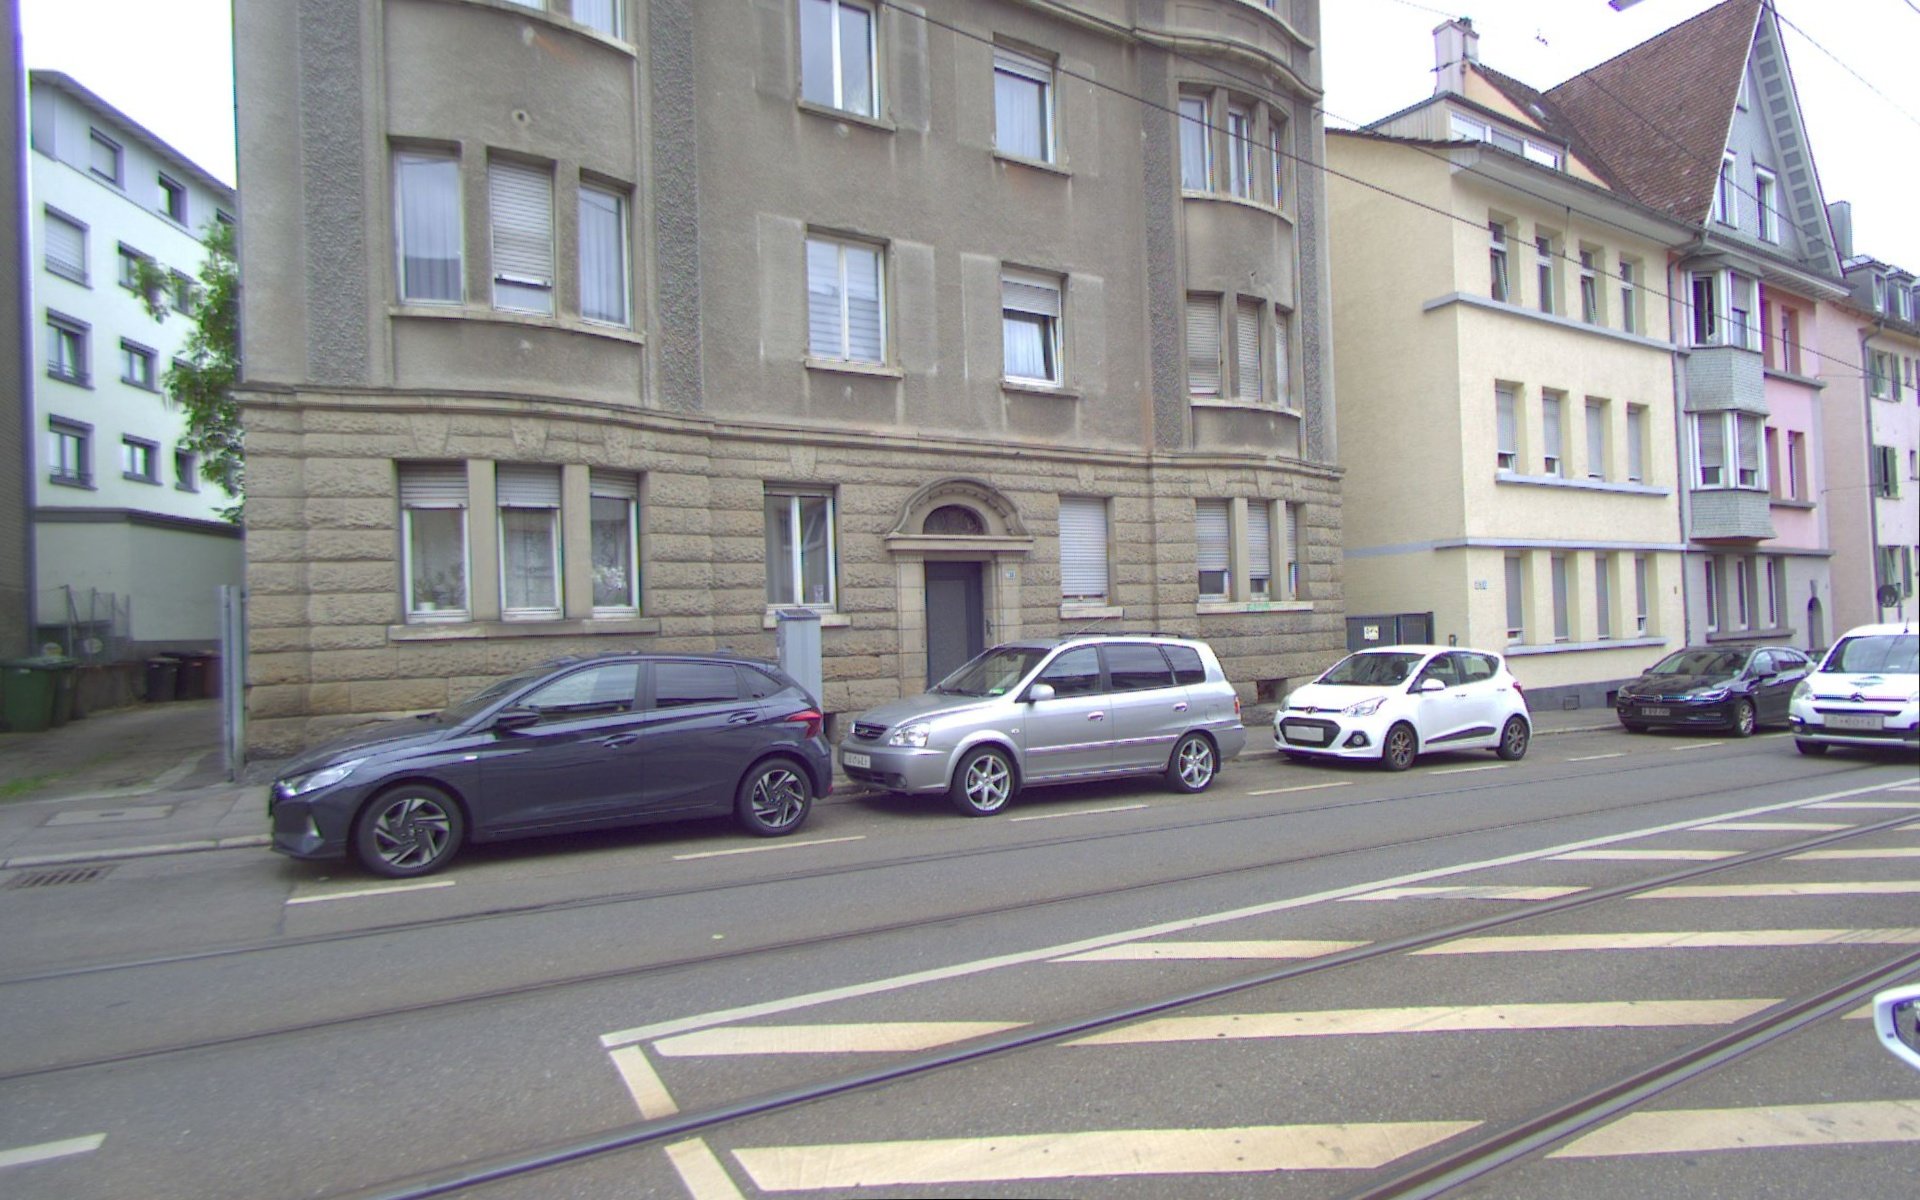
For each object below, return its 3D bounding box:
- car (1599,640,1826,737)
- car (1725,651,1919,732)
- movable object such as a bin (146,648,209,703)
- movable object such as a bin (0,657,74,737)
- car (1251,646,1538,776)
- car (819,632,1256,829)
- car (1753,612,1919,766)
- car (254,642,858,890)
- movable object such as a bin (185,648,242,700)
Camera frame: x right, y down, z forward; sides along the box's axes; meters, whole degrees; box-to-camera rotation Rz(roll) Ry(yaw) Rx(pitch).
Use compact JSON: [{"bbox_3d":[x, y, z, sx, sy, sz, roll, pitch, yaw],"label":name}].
[{"bbox_3d":[13.046,1.484,17.343,4.506,1.492,1.612,2,-4,-32],"label":"car"},{"bbox_3d":[16.917,1.718,19.652,3.954,1.428,1.728,2,-3,-31],"label":"car"},{"bbox_3d":[-16.914,1.624,21.728,0.645,1.141,0.967,1,-2,-8],"label":"movable object such as a bin"},{"bbox_3d":[-14.028,1.451,15.237,0.649,1.141,0.960,1,-2,-29],"label":"movable object such as a bin"},{"bbox_3d":[5.710,1.371,13.134,3.642,1.482,1.613,2,-4,-30],"label":"car"},{"bbox_3d":[0.880,1.160,10.158,4.303,1.625,1.612,1,-3,-32],"label":"car"},{"bbox_3d":[12.960,1.144,13.706,4.167,1.842,1.913,2,-3,-30],"label":"car"},{"bbox_3d":[-2.939,1.107,7.786,3.988,1.482,1.612,2,-4,-32],"label":"car"},{"bbox_3d":[-17.026,1.675,22.928,0.645,1.141,0.967,1,-2,-8],"label":"movable object such as a bin"}]
